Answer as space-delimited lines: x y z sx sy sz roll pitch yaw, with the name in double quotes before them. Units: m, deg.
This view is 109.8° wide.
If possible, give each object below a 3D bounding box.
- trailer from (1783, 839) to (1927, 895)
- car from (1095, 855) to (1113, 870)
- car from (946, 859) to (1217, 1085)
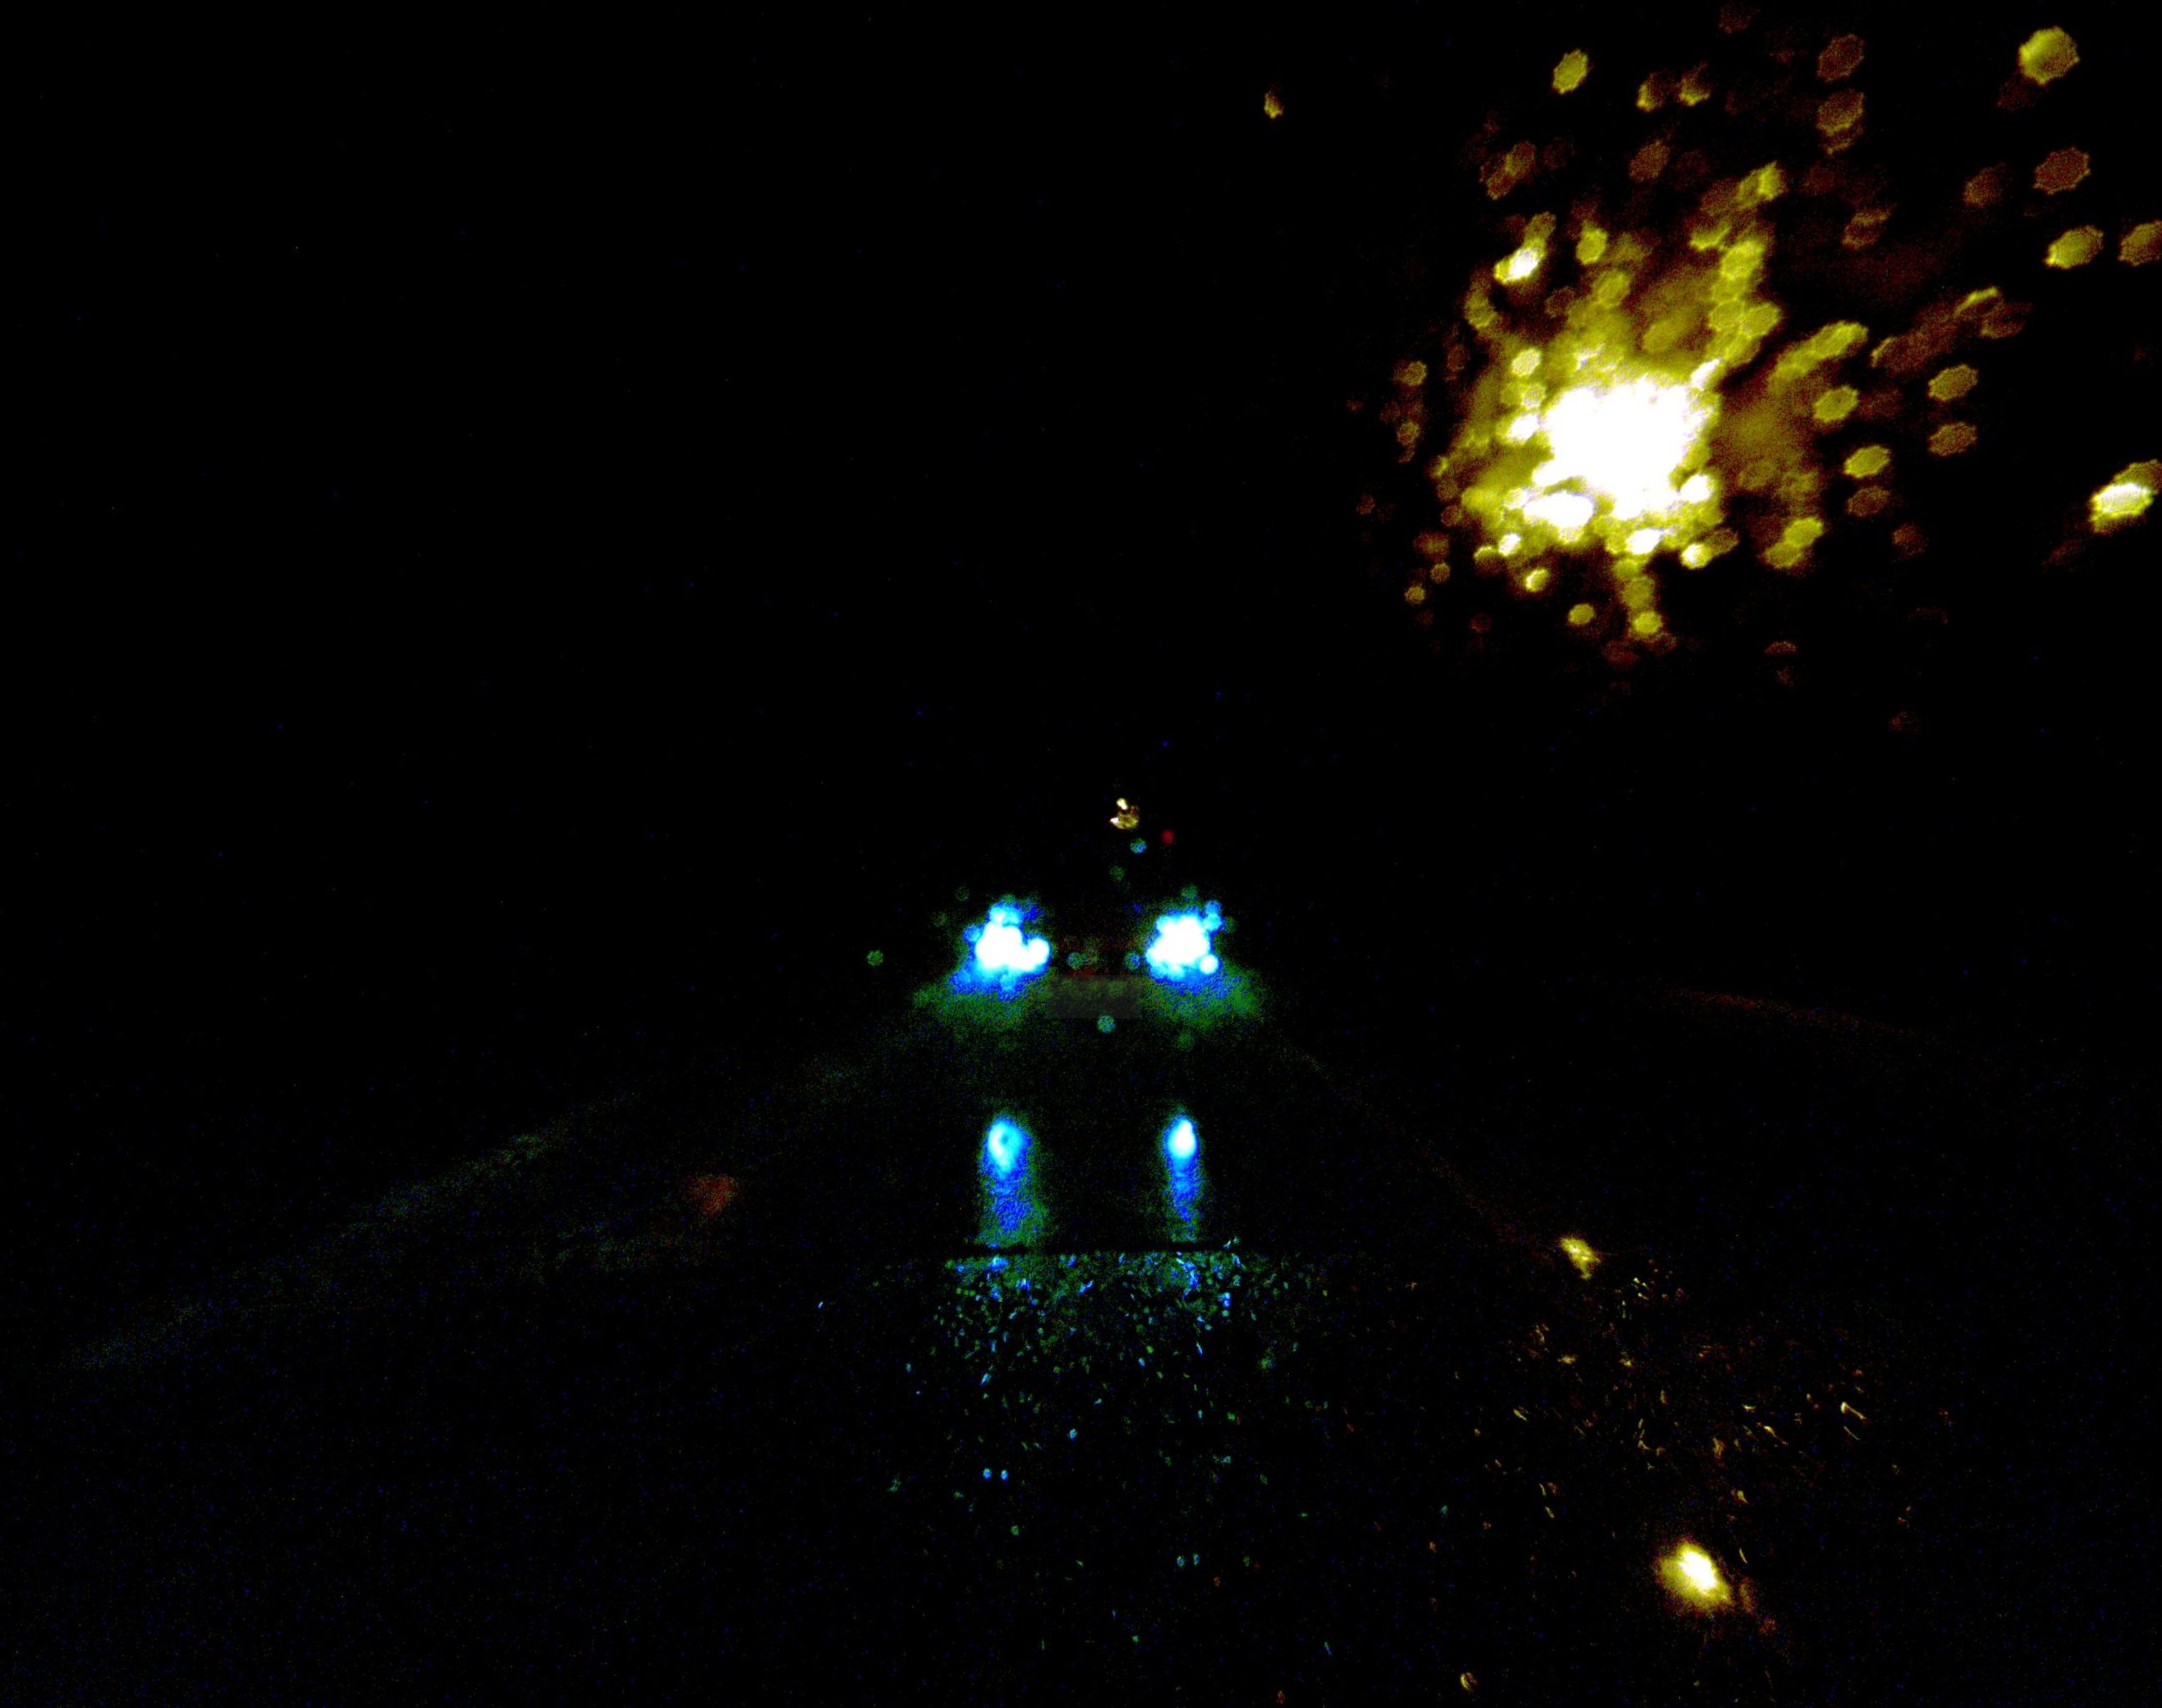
"trailer" 33.532 0.508 33.070 3.801 2.206 1.976 2 3 18
"car" 2.418 0.879 80.036 1.878 1.536 4.356 1 -1 1
"car" 0.051 0.876 7.927 1.944 1.580 4.775 -1 0 1
